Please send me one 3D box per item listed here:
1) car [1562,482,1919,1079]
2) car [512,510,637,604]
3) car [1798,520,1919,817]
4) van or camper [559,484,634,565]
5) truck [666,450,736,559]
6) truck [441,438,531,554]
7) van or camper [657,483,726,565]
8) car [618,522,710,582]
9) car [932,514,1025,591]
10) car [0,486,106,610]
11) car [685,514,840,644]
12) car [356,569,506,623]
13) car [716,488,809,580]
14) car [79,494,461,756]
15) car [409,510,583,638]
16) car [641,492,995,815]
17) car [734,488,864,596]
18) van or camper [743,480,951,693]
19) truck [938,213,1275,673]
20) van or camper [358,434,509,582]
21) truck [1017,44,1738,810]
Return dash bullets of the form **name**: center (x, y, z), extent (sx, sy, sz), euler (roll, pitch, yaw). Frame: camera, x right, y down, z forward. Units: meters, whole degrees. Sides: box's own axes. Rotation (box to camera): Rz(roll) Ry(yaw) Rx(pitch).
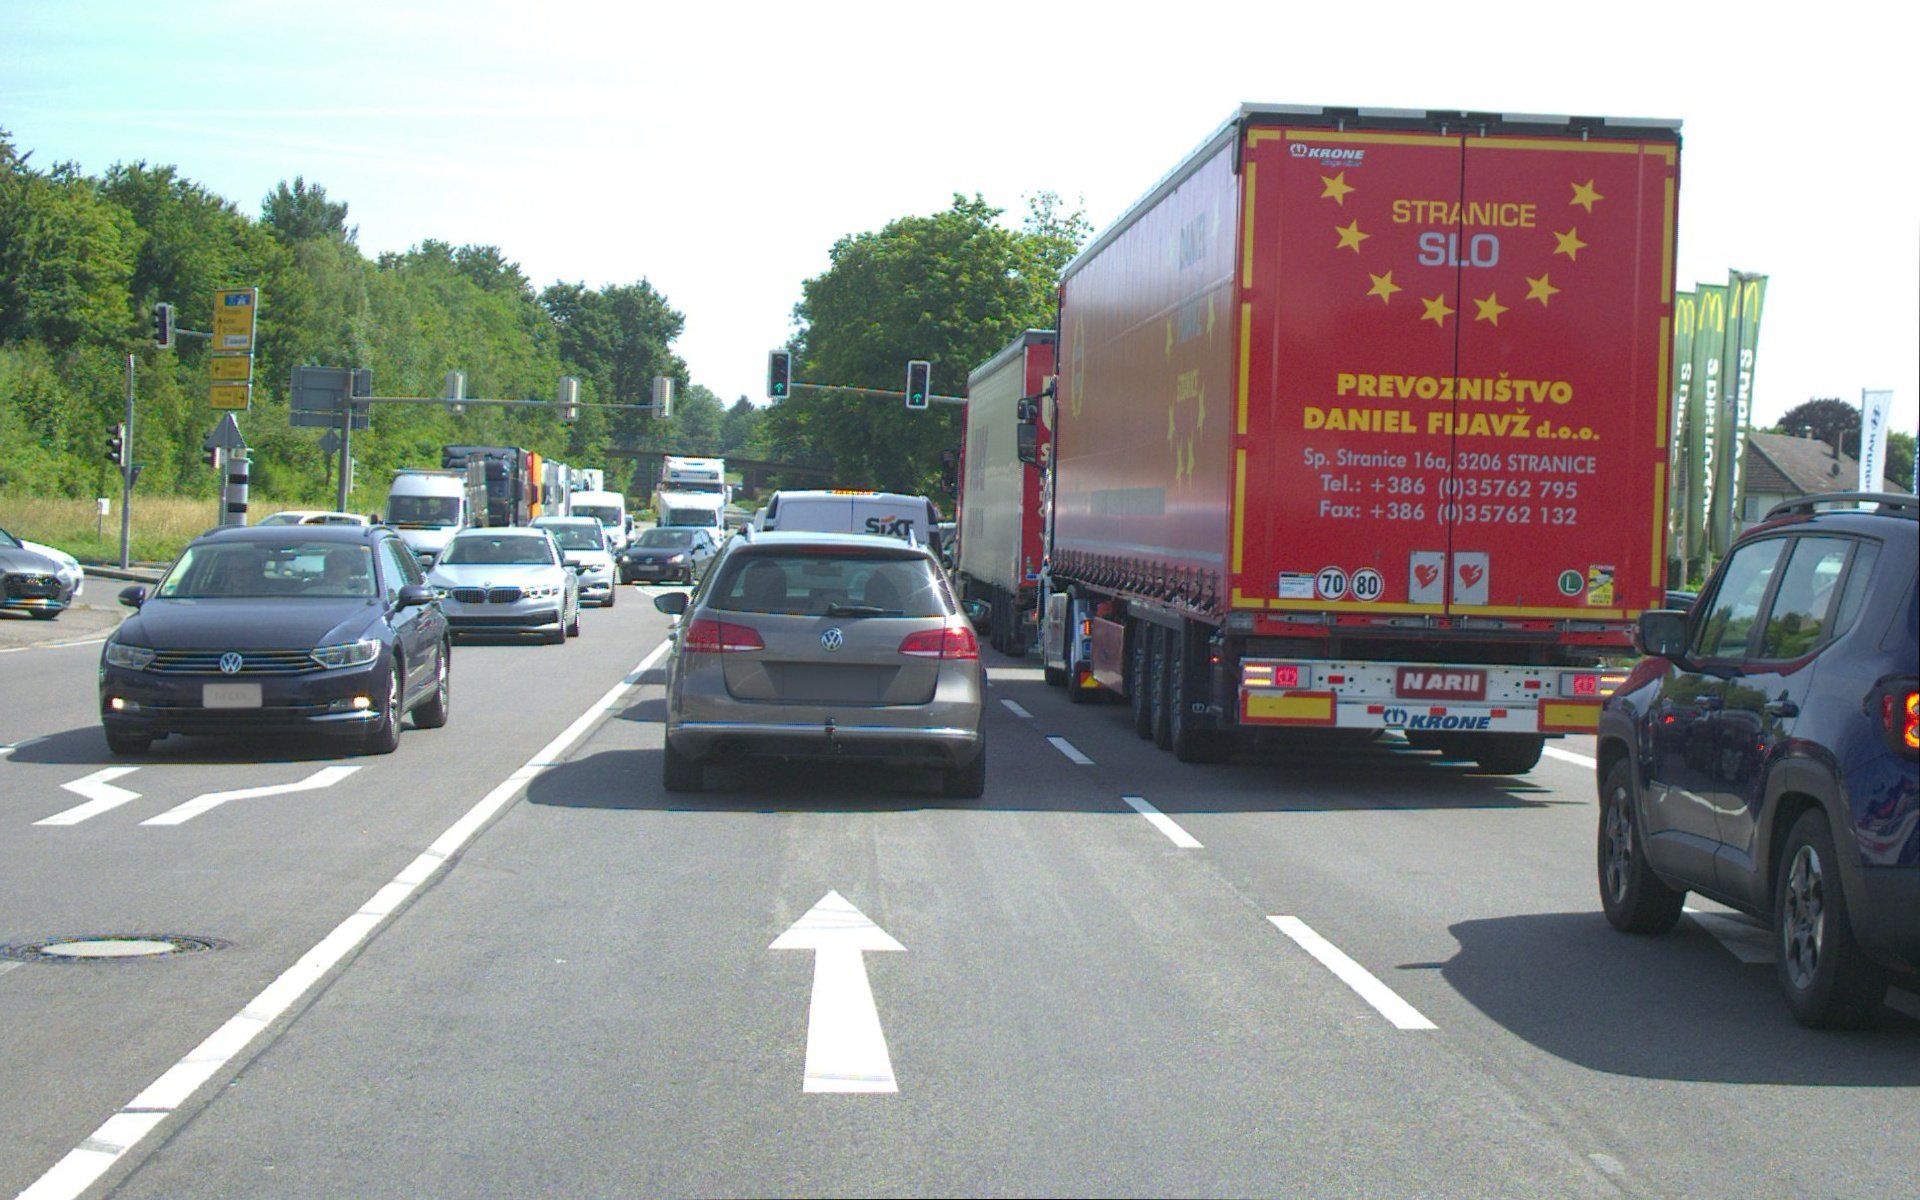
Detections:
- **car**: center (3.361, 0.491, 11.706), extent (1.819, 1.679, 4.000), euler (1, 1, -1)
- **car**: center (-7.106, -0.809, 63.672), extent (1.909, 1.657, 4.181), euler (1, 1, -1)
- **car**: center (6.335, 0.397, 20.044), extent (1.819, 1.679, 4.000), euler (1, 1, -1)
- **van or camper**: center (-12.143, -2.528, 115.125), extent (2.173, 2.542, 4.171), euler (3, 1, -3)
- **truck**: center (-10.526, -3.876, 140.462), extent (2.552, 4.292, 7.596), euler (1, 1, -3)
- **truck**: center (-16.017, -3.491, 116.557), extent (2.812, 3.773, 6.991), euler (1, 1, -6)
- **van or camper**: center (-9.841, -2.763, 126.449), extent (2.224, 2.831, 5.711), euler (3, 0, -3)
- **car**: center (-7.229, -1.181, 84.210), extent (1.666, 1.404, 3.926), euler (1, 1, 4)
- **car**: center (0.368, -1.000, 72.870), extent (1.726, 1.514, 3.312), euler (3, 0, -3)
- **car**: center (-14.521, -0.787, 48.565), extent (4.521, 1.687, 2.128), euler (2, 1, 30)
- **car**: center (-2.483, -0.268, 43.869), extent (1.727, 1.514, 3.312), euler (3, 0, 0)
- **car**: center (-14.847, -0.100, 96.635), extent (1.716, 1.443, 4.072), euler (3, 1, 39)
- **car**: center (-4.315, -1.420, 75.396), extent (1.727, 1.902, 3.312), euler (3, 0, 1)
- **car**: center (-4.532, 0.110, 23.193), extent (1.806, 1.554, 4.387), euler (1, 1, -2)
- **car**: center (-5.998, -0.370, 44.879), extent (1.909, 1.516, 4.782), euler (2, 1, -4)
- **car**: center (-0.726, 0.255, 19.675), extent (1.790, 1.633, 3.504), euler (2, 1, 1)
- **car**: center (-2.412, -0.857, 52.197), extent (1.727, 1.514, 3.312), euler (3, 0, 0)
- **van or camper**: center (-1.149, -0.164, 33.859), extent (1.852, 1.899, 3.785), euler (3, 1, -3)
- **truck**: center (1.642, -1.998, 48.382), extent (3.062, 5.202, 17.009), euler (3, 1, -3)
- **van or camper**: center (-11.968, -2.075, 78.577), extent (2.207, 3.045, 5.902), euler (6, 1, 0)
- **truck**: center (2.536, -1.159, 27.986), extent (2.957, 4.255, 16.586), euler (3, 1, -3)
